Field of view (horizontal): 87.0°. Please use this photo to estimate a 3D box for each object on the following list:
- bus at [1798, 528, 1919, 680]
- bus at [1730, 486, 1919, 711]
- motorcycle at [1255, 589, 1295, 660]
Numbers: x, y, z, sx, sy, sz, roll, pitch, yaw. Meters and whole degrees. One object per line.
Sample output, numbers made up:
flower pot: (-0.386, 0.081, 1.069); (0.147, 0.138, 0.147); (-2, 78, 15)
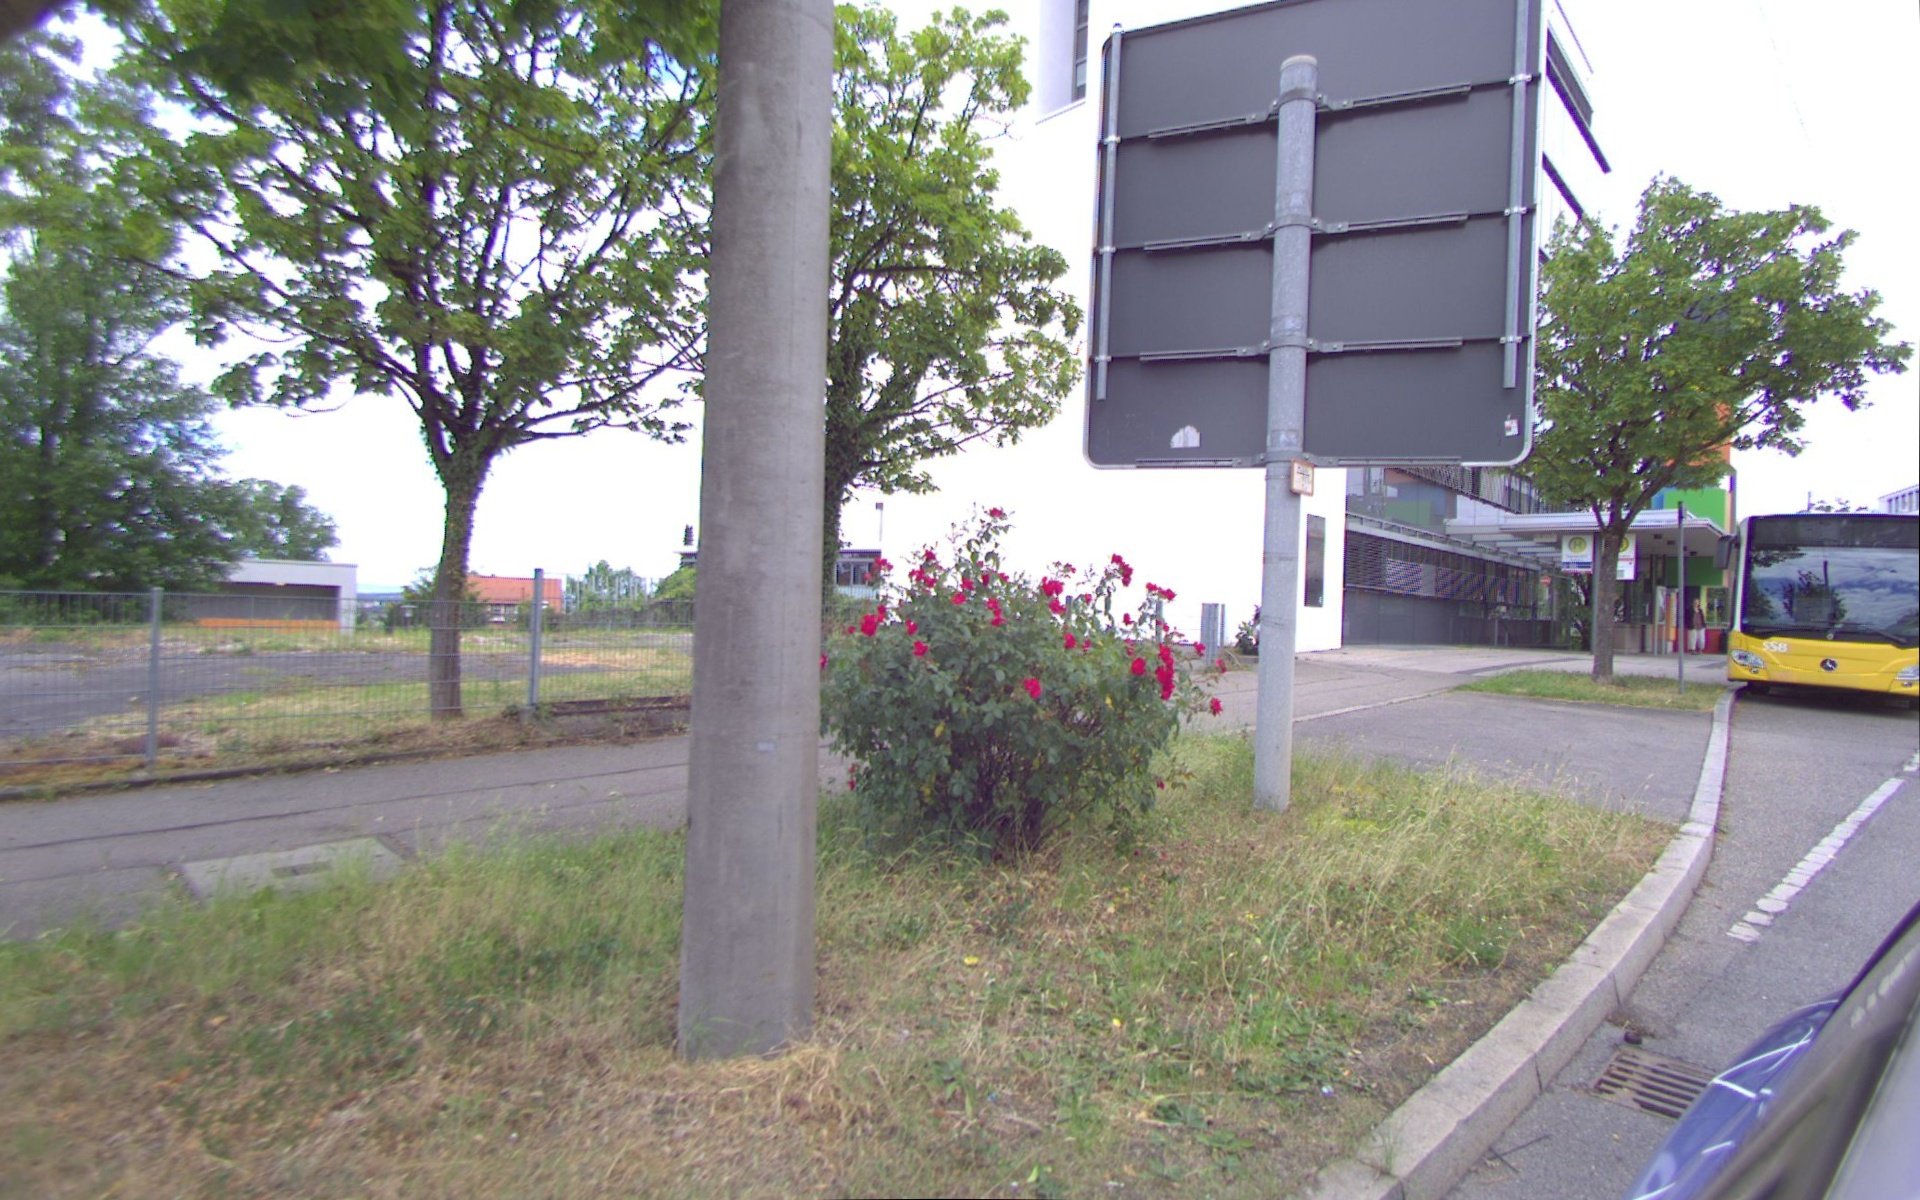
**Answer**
bus: (22.517, 0.133, 24.474); (2.713, 3.148, 8.726); (2, 1, 44)
bus: (16.308, 0.007, 18.138); (2.714, 3.203, 8.979); (4, 2, 45)
motorcycle: (5.787, 0.419, 18.631); (0.575, 1.237, 1.575); (1, 1, 14)
